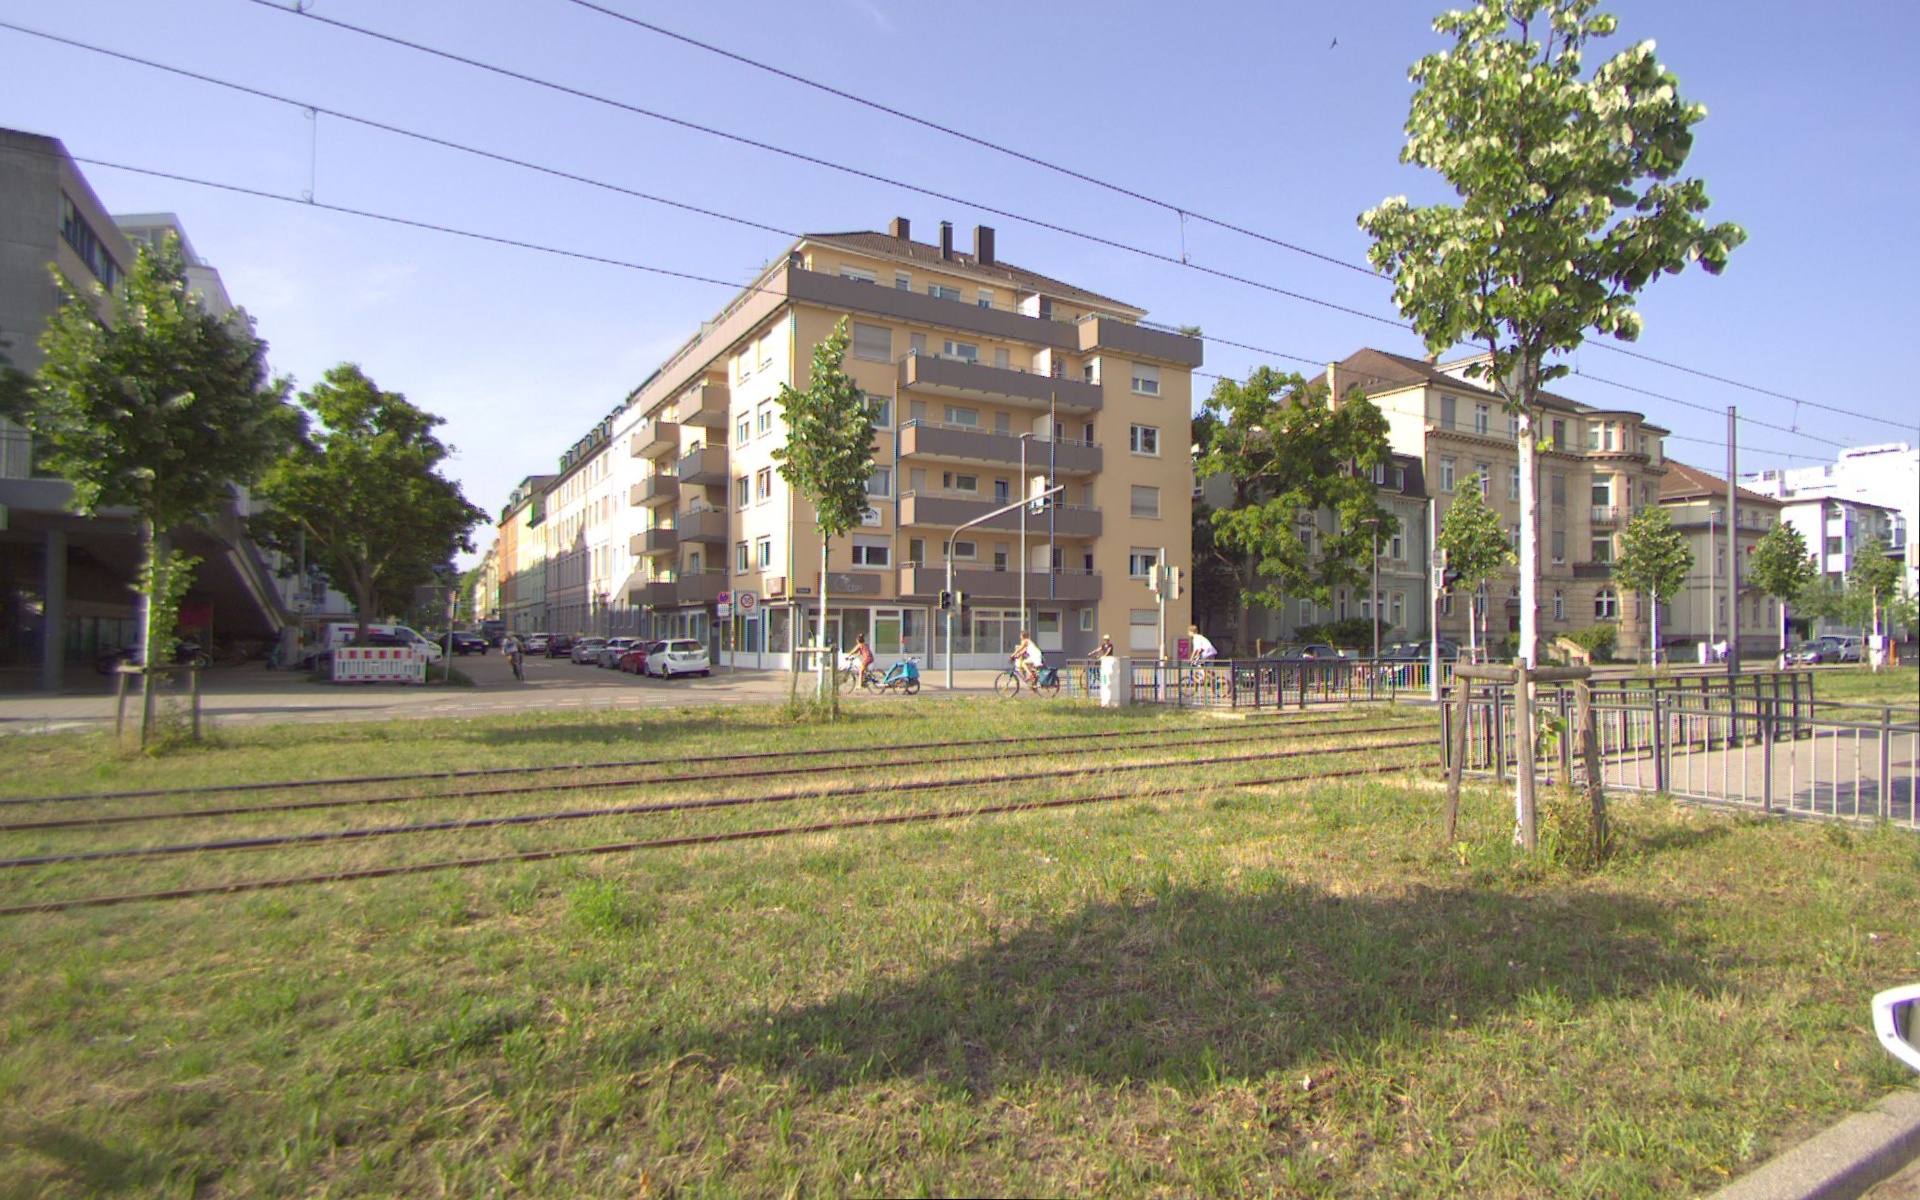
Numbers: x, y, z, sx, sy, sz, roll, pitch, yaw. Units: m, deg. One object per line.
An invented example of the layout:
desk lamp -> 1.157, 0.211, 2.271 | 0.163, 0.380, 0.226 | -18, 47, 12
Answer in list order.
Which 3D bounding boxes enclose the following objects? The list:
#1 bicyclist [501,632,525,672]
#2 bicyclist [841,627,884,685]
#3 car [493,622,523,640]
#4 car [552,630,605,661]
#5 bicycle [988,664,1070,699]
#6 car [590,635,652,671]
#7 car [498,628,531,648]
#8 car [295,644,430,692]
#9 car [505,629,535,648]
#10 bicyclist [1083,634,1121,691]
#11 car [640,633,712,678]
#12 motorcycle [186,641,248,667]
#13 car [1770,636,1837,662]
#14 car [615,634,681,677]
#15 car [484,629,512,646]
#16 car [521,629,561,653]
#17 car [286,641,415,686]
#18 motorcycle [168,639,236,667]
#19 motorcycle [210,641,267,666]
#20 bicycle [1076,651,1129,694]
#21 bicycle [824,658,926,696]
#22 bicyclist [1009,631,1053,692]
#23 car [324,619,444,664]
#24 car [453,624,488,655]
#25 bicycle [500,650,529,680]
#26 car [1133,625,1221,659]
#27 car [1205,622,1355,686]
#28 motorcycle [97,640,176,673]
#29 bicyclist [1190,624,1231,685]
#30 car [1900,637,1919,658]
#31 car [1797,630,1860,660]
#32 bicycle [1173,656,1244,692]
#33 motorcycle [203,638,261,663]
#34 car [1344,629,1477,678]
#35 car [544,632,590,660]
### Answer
bicyclist -> -16.090, 1.865, 36.195 | 0.692, 1.404, 0.910 | -1, -1, -19
bicyclist -> -2.841, 1.604, 29.224 | 0.877, 1.650, 0.891 | 0, -2, 30
car -> -42.580, 2.954, 94.592 | 1.980, 1.658, 3.962 | 2, -2, -34
car -> -20.525, 2.419, 54.015 | 1.797, 1.625, 3.915 | 2, -2, -34
bicycle -> 1.747, 2.057, 25.444 | 1.963, 0.804, 0.629 | 0, -2, 20
car -> -16.056, 2.477, 47.454 | 1.797, 1.625, 3.915 | 2, -2, -34
car -> -37.000, 3.123, 83.349 | 1.797, 1.625, 3.915 | 2, -2, -34
car -> -22.896, 2.573, 38.572 | 4.335, 1.650, 1.897 | 2, 0, -34
car -> -39.977, 3.477, 91.194 | 1.797, 1.625, 3.915 | 2, -2, -34
bicyclist -> 4.703, 2.049, 33.233 | 1.072, 1.829, 0.665 | 2, -2, -34
car -> -11.150, 2.123, 39.275 | 1.691, 1.604, 3.602 | -1, -1, -33
motorcycle -> -29.820, 2.147, 40.347 | 1.923, 1.031, 0.490 | 1, -2, -30
car -> 53.845, 3.131, 64.085 | 4.478, 1.597, 1.983 | 2, -2, -32
car -> -13.471, 2.351, 43.235 | 1.755, 1.711, 3.765 | 2, -2, -33
car -> -45.203, 3.698, 98.233 | 1.797, 1.625, 3.915 | 1, -2, -34
car -> -29.044, 2.825, 69.638 | 1.797, 1.625, 3.915 | 2, -2, -34
car -> -24.475, 2.526, 40.413 | 4.335, 1.650, 1.897 | 2, 0, -34
motorcycle -> -27.918, 1.947, 37.033 | 1.923, 1.031, 0.490 | 1, -2, -30
motorcycle -> -31.399, 2.327, 43.739 | 1.923, 1.031, 0.553 | 1, -2, -30
bicycle -> 4.723, 2.382, 33.247 | 1.740, 1.364, 0.690 | 2, -2, -36
bicycle -> -2.469, 2.192, 29.003 | 2.944, 0.978, 0.899 | -1, -2, 30
bicyclist -> 1.801, 1.535, 25.432 | 0.967, 1.520, 0.620 | 0, -2, 20
car -> -27.238, 1.978, 47.595 | 4.777, 1.994, 1.984 | 2, -3, -31
car -> -33.869, 2.708, 69.474 | 1.791, 2.040, 3.967 | 1, -2, -31
bicycle -> -16.138, 2.329, 36.435 | 0.696, 1.012, 2.337 | 1, -2, -18
car -> 11.826, 2.284, 54.932 | 2.141, 1.771, 4.605 | 1, -3, -31
car -> 10.926, 1.807, 34.157 | 5.245, 2.040, 1.982 | 2, -2, -33
motorcycle -> -27.041, 1.849, 33.032 | 1.923, 1.031, 0.490 | 1, -2, -30
bicyclist -> 6.229, 1.343, 24.999 | 0.790, 1.459, 0.687 | 2, 0, -2
car -> 70.327, 3.491, 73.424 | 3.783, 1.483, 1.510 | 2, -3, -33
car -> 66.220, 3.454, 76.587 | 5.207, 2.040, 2.237 | 4, -1, -33
bicycle -> 6.177, 1.840, 25.002 | 1.572, 0.808, 0.720 | 2, 0, -2
motorcycle -> -30.976, 2.132, 42.742 | 1.923, 1.031, 0.553 | 1, -2, -30
car -> 14.821, 1.730, 33.003 | 4.350, 1.533, 1.982 | 2, -2, -33
car -> -23.890, 2.774, 60.979 | 1.797, 1.625, 3.915 | 2, -2, -34
